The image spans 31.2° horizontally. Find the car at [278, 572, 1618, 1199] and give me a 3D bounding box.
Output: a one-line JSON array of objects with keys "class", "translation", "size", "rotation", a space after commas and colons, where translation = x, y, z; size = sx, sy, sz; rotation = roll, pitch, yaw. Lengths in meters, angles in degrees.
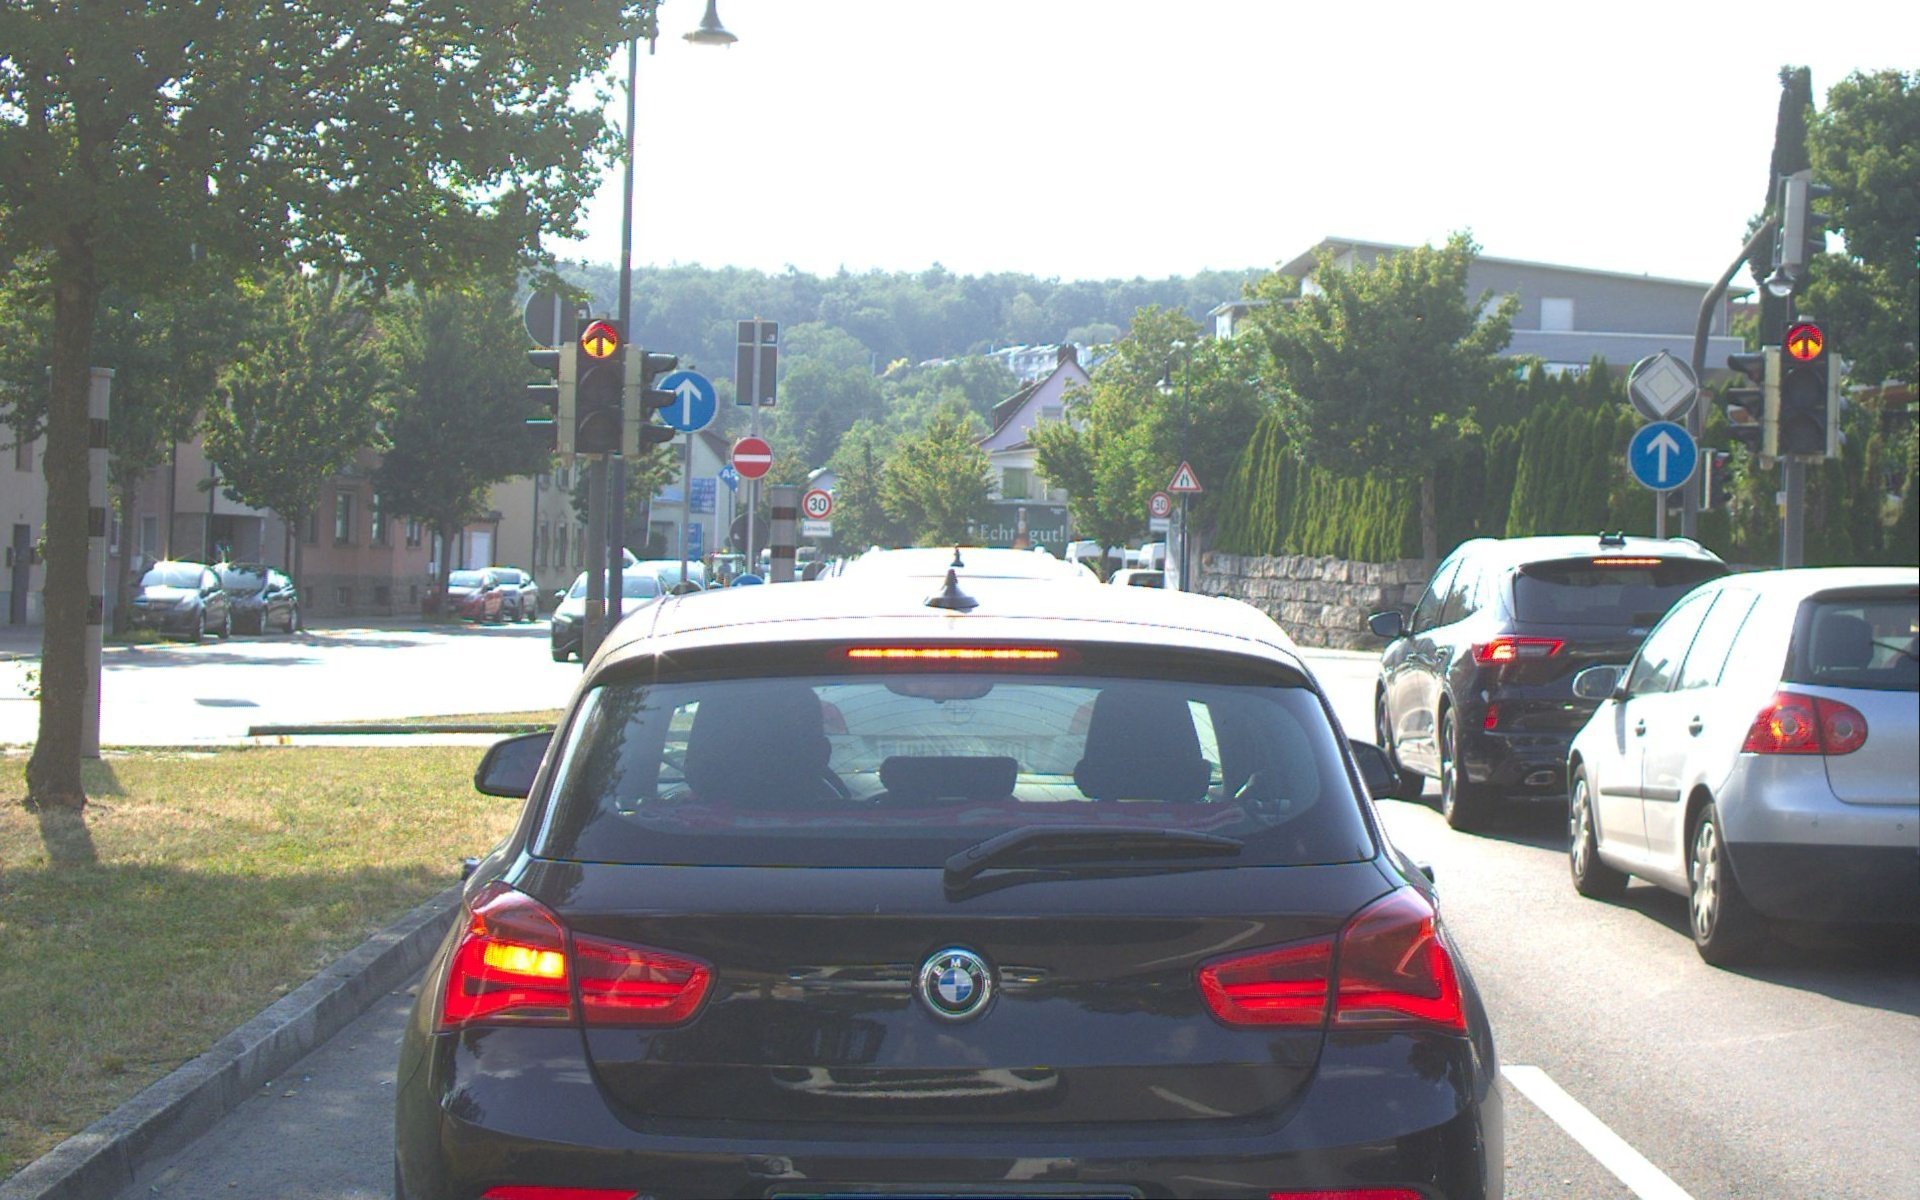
[{"class": "car", "translation": [0.013, 0.677, 6.791], "size": [1.791, 1.410, 4.347], "rotation": [1, 1, 1]}]

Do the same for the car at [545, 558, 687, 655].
[{"class": "car", "translation": [-5.455, 0.073, 54.893], "size": [1.766, 1.453, 4.000], "rotation": [1, 1, 1]}]

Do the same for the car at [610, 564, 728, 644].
[{"class": "car", "translation": [-5.228, 0.051, 62.230], "size": [1.693, 1.348, 4.000], "rotation": [1, 1, 1]}]

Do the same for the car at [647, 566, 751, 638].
[{"class": "car", "translation": [-5.220, 0.016, 69.231], "size": [1.693, 1.348, 4.000], "rotation": [1, 1, 1]}]

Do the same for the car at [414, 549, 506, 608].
[{"class": "car", "translation": [-14.122, -0.633, 97.306], "size": [1.924, 1.590, 4.000], "rotation": [1, 1, 1]}]

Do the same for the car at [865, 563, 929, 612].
[{"class": "car", "translation": [-2.277, -0.477, 122.818], "size": [1.890, 1.696, 4.525], "rotation": [-1, 1, -6]}]

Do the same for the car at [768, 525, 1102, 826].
[{"class": "car", "translation": [-0.102, 0.383, 21.031], "size": [1.816, 1.635, 4.242], "rotation": [1, 1, 1]}]

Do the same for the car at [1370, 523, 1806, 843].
[{"class": "car", "translation": [3.557, 0.402, 20.226], "size": [1.816, 1.660, 4.347], "rotation": [1, 1, 1]}]

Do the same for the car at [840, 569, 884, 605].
[{"class": "car", "translation": [-4.507, -0.624, 158.166], "size": [1.924, 1.590, 4.000], "rotation": [1, 1, -1]}]

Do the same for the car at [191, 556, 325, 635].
[{"class": "car", "translation": [-14.823, -0.110, 72.828], "size": [1.924, 1.590, 4.000], "rotation": [1, 1, 1]}]

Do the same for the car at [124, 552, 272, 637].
[{"class": "car", "translation": [-14.851, -0.130, 67.205], "size": [1.924, 1.590, 4.000], "rotation": [1, 1, 1]}]

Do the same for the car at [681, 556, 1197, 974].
[{"class": "car", "translation": [-0.040, 0.559, 14.310], "size": [1.816, 1.446, 4.242], "rotation": [1, 1, 1]}]

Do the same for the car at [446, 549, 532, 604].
[{"class": "car", "translation": [-14.055, -0.721, 102.812], "size": [1.924, 1.590, 4.000], "rotation": [1, 1, 1]}]

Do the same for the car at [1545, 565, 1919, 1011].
[{"class": "car", "translation": [3.553, 0.607, 13.525], "size": [1.816, 1.441, 4.347], "rotation": [1, 1, 1]}]
